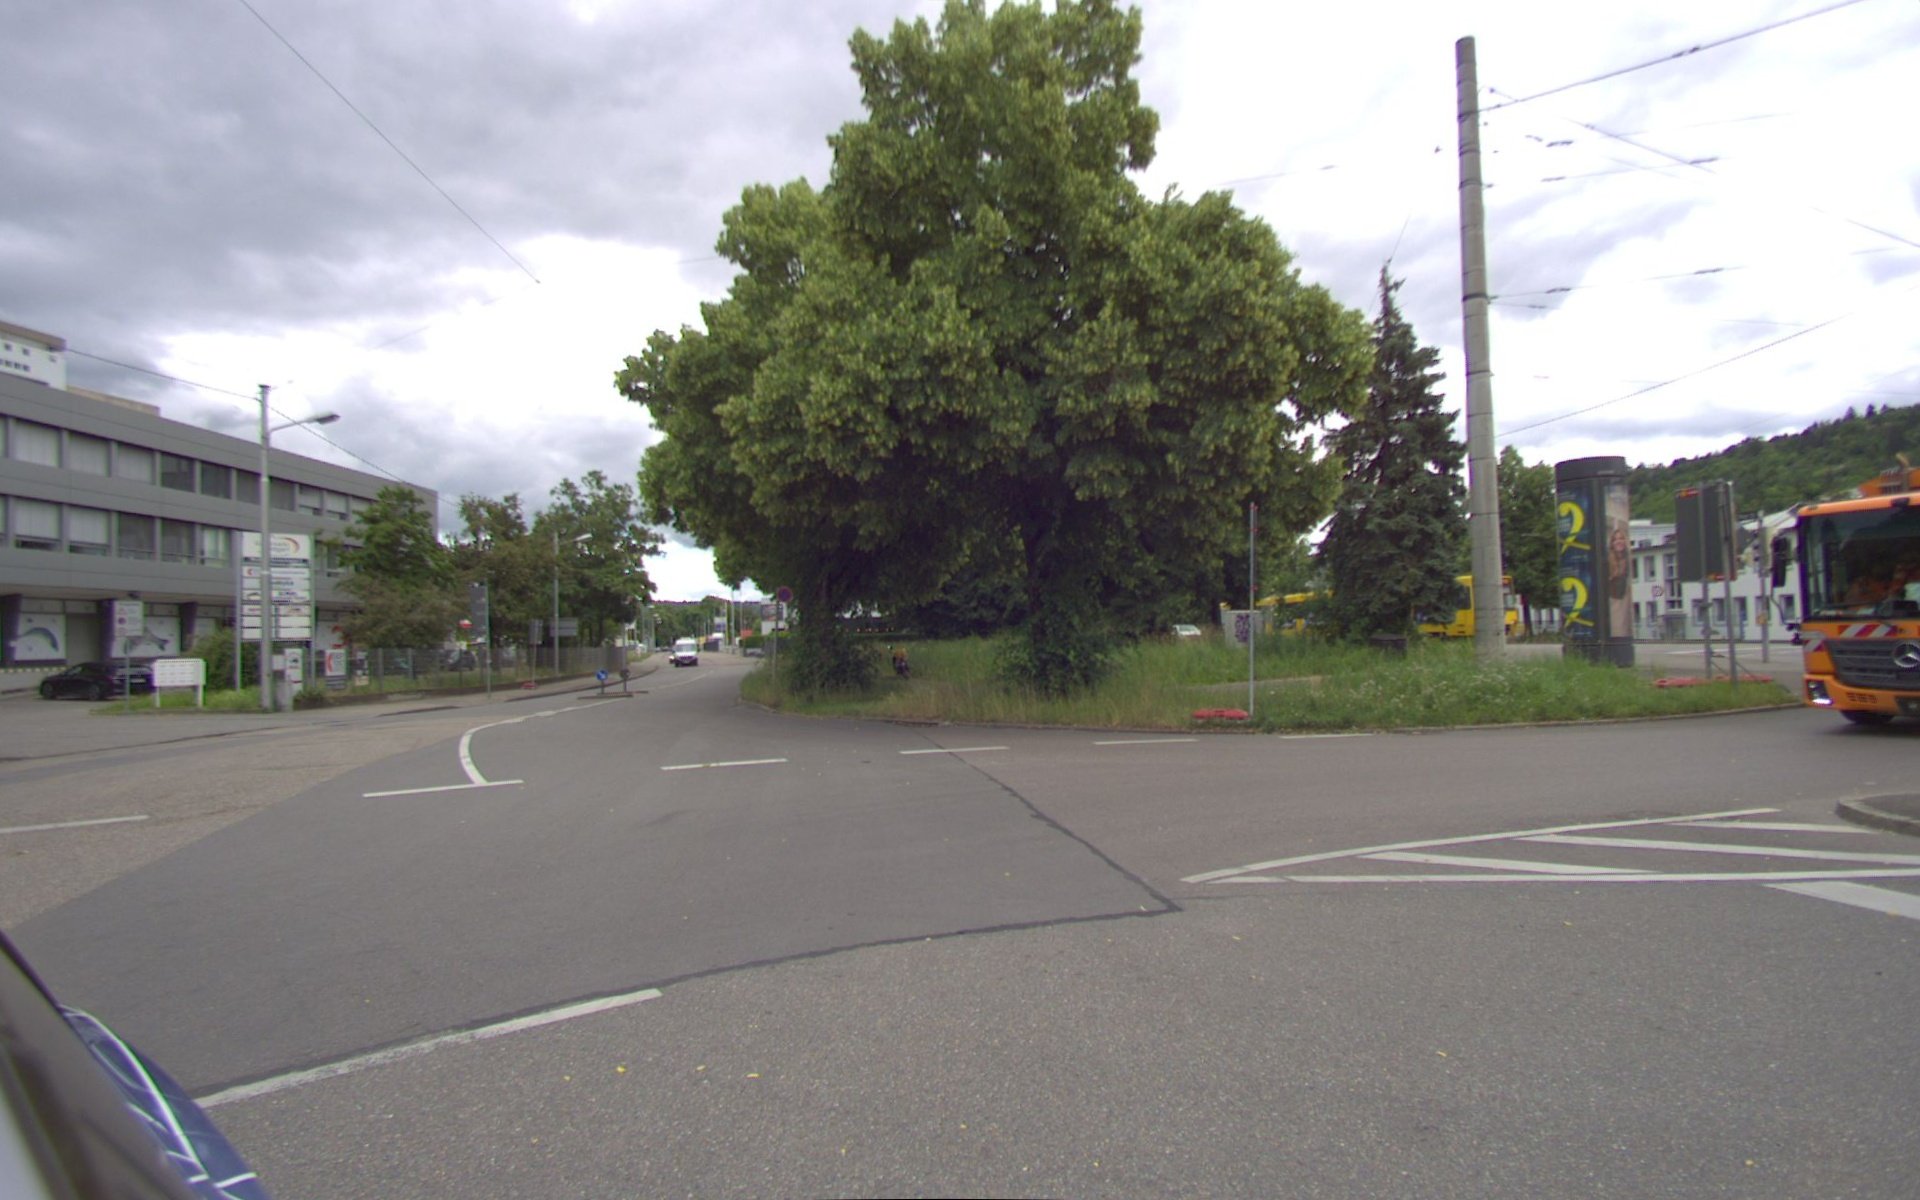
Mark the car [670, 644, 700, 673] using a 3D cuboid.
[{"bbox_3d":[-24.969,5.268,92.101,2.350,2.477,6.116,-2,-2,-14],"label":"car"}]

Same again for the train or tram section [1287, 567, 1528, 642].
[{"bbox_3d":[25.545,0.617,60.278,3.225,3.694,19.207,-2,-2,-8],"label":"train or tram section"}]

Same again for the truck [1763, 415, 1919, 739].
[{"bbox_3d":[14.934,-0.376,13.705,10.244,3.553,2.806,-2,-1,-31],"label":"truck"}]

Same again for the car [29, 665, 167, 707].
[{"bbox_3d":[-33.712,3.336,39.573,4.793,1.456,2.037,-1,-2,20],"label":"car"}]

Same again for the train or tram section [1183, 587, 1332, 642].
[{"bbox_3d":[22.607,1.380,79.222,3.225,3.694,19.208,-2,-2,-9],"label":"train or tram section"}]

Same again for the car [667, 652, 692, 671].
[{"bbox_3d":[-29.422,6.440,106.380,2.350,1.884,5.220,-2,-2,-14],"label":"car"}]
